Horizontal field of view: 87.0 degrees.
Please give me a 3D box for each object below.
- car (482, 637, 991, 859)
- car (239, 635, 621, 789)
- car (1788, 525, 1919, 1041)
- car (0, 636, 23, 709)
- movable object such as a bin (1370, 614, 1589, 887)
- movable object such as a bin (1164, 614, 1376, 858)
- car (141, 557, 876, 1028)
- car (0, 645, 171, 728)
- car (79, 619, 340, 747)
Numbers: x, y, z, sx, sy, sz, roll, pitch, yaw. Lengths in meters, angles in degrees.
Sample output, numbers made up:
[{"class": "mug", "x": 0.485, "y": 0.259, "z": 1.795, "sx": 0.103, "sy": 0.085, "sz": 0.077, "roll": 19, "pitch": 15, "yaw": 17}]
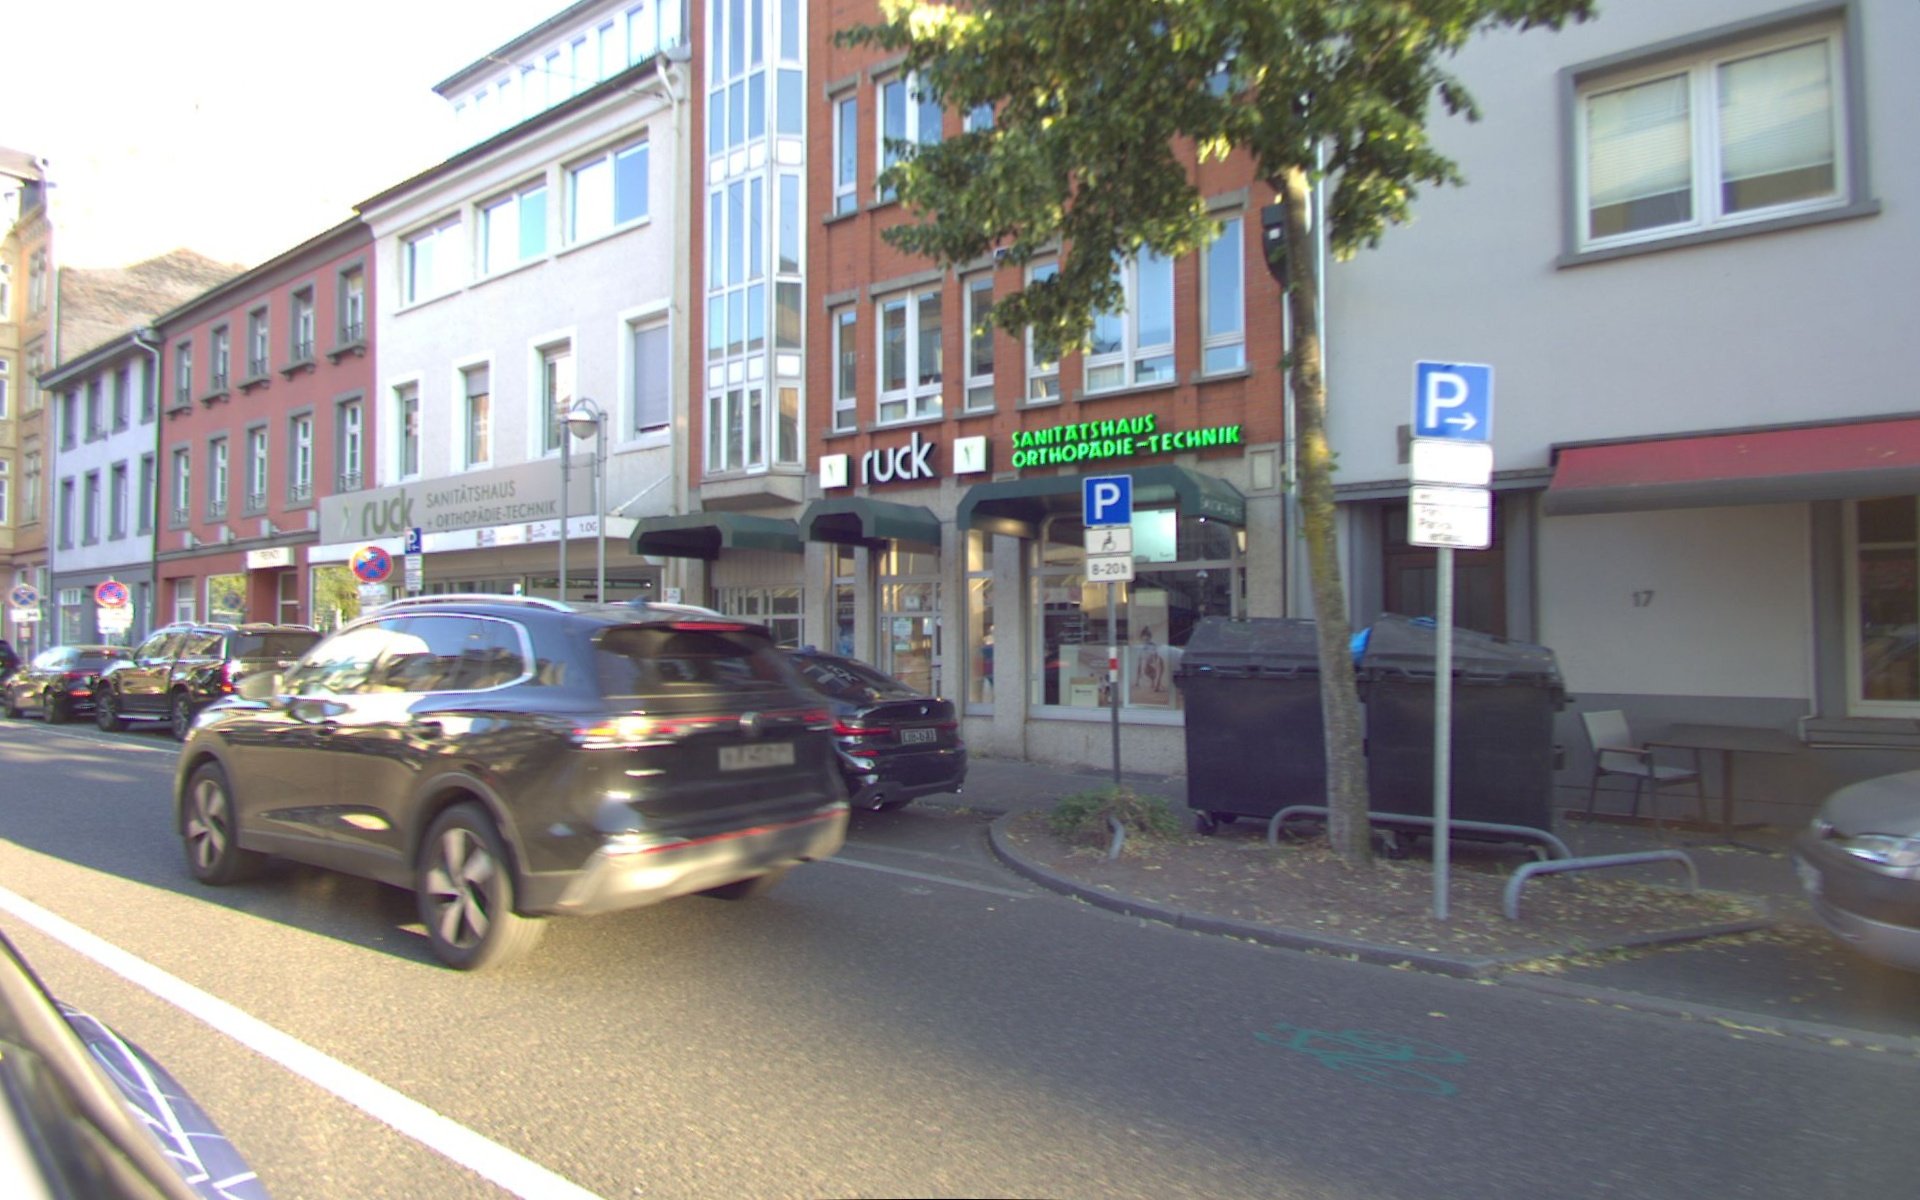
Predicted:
[{"class": "car", "x": -2.083, "y": 1.103, "z": 8.823, "sx": 4.530, "sy": 1.484, "sz": 1.705, "roll": -2, "pitch": -5, "yaw": 35}, {"class": "car", "x": -6.462, "y": 1.214, "z": 12.109, "sx": 5.096, "sy": 1.484, "sz": 1.976, "roll": -2, "pitch": -4, "yaw": 36}, {"class": "car", "x": 5.594, "y": 0.691, "z": 3.450, "sx": 4.040, "sy": 1.902, "sz": 1.656, "roll": -1, "pitch": -4, "yaw": 32}, {"class": "car", "x": -24.473, "y": 1.723, "z": 24.584, "sx": 4.041, "sy": 1.696, "sz": 1.705, "roll": -2, "pitch": -5, "yaw": 36}, {"class": "movable object such as a bin", "x": 3.456, "y": 0.927, "z": 6.758, "sx": 1.204, "sy": 1.632, "sz": 0.775, "roll": -1, "pitch": 0, "yaw": 31}, {"class": "movable object such as a bin", "x": 2.298, "y": 0.934, "z": 7.515, "sx": 1.332, "sy": 1.632, "sz": 0.775, "roll": -1, "pitch": -1, "yaw": 31}, {"class": "car", "x": -2.670, "y": 0.796, "z": 5.607, "sx": 4.285, "sy": 1.688, "sz": 1.715, "roll": -2, "pitch": -5, "yaw": 35}, {"class": "car", "x": -17.224, "y": 1.639, "z": 19.733, "sx": 4.004, "sy": 1.448, "sz": 1.687, "roll": -2, "pitch": -5, "yaw": 34}, {"class": "car", "x": -12.140, "y": 1.270, "z": 16.271, "sx": 4.924, "sy": 1.793, "sz": 1.707, "roll": -2, "pitch": -4, "yaw": 33}]
